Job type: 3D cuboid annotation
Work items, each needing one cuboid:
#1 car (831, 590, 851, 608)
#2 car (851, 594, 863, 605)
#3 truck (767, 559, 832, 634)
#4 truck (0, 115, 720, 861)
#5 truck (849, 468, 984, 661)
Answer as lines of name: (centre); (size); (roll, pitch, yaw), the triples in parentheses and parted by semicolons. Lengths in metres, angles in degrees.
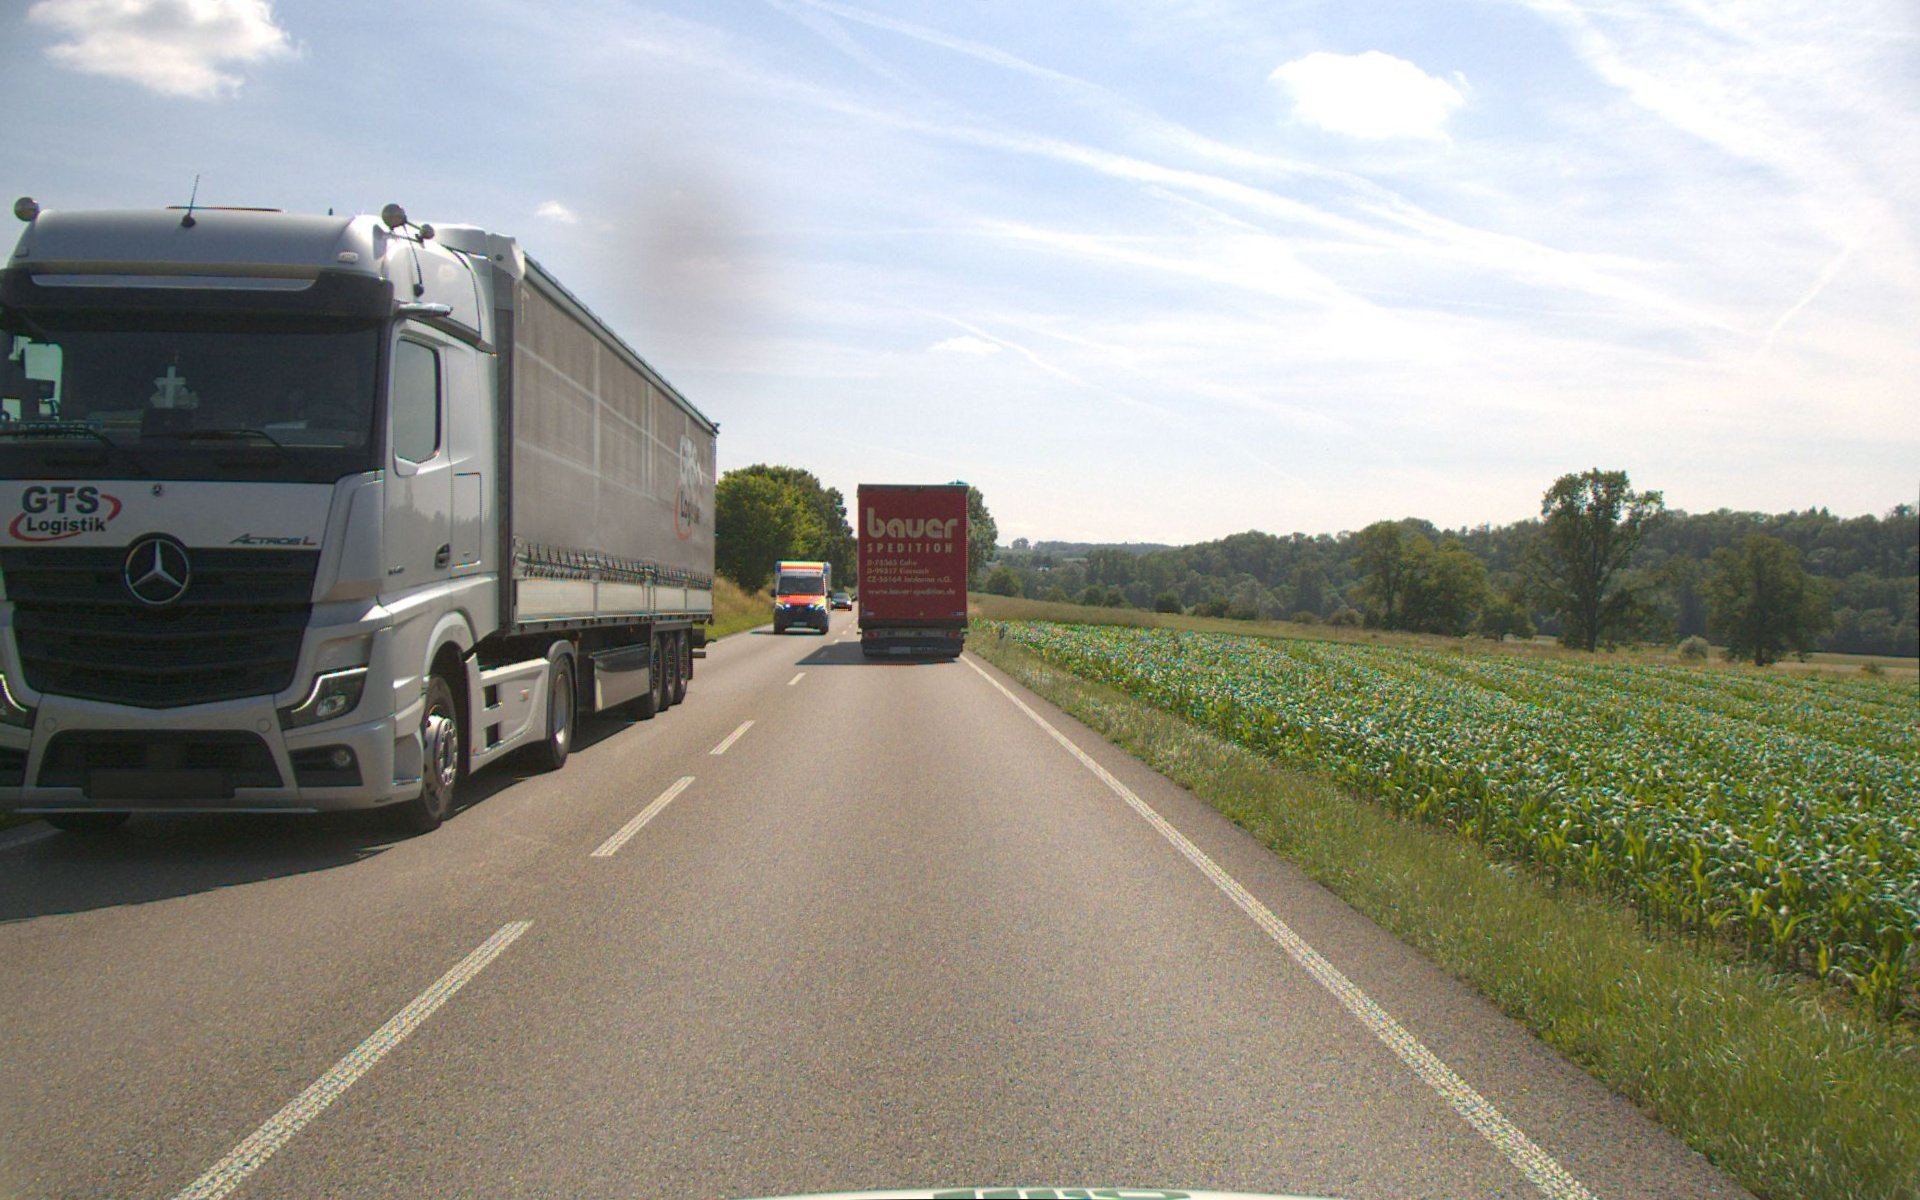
car: (-10.293, -0.124, 143.606); (1.640, 1.482, 4.348); (1, 0, -3)
car: (-15.328, -0.107, 245.658); (1.623, 1.561, 4.355); (2, 0, -3)
truck: (-6.049, -0.116, 63.052); (2.163, 2.718, 6.413); (0, 0, -3)
truck: (-4.781, -0.630, 17.294); (2.770, 4.062, 16.525); (0, 0, -2)
truck: (-1.066, -0.763, 41.657); (3.031, 4.337, 8.312); (0, -1, -1)
